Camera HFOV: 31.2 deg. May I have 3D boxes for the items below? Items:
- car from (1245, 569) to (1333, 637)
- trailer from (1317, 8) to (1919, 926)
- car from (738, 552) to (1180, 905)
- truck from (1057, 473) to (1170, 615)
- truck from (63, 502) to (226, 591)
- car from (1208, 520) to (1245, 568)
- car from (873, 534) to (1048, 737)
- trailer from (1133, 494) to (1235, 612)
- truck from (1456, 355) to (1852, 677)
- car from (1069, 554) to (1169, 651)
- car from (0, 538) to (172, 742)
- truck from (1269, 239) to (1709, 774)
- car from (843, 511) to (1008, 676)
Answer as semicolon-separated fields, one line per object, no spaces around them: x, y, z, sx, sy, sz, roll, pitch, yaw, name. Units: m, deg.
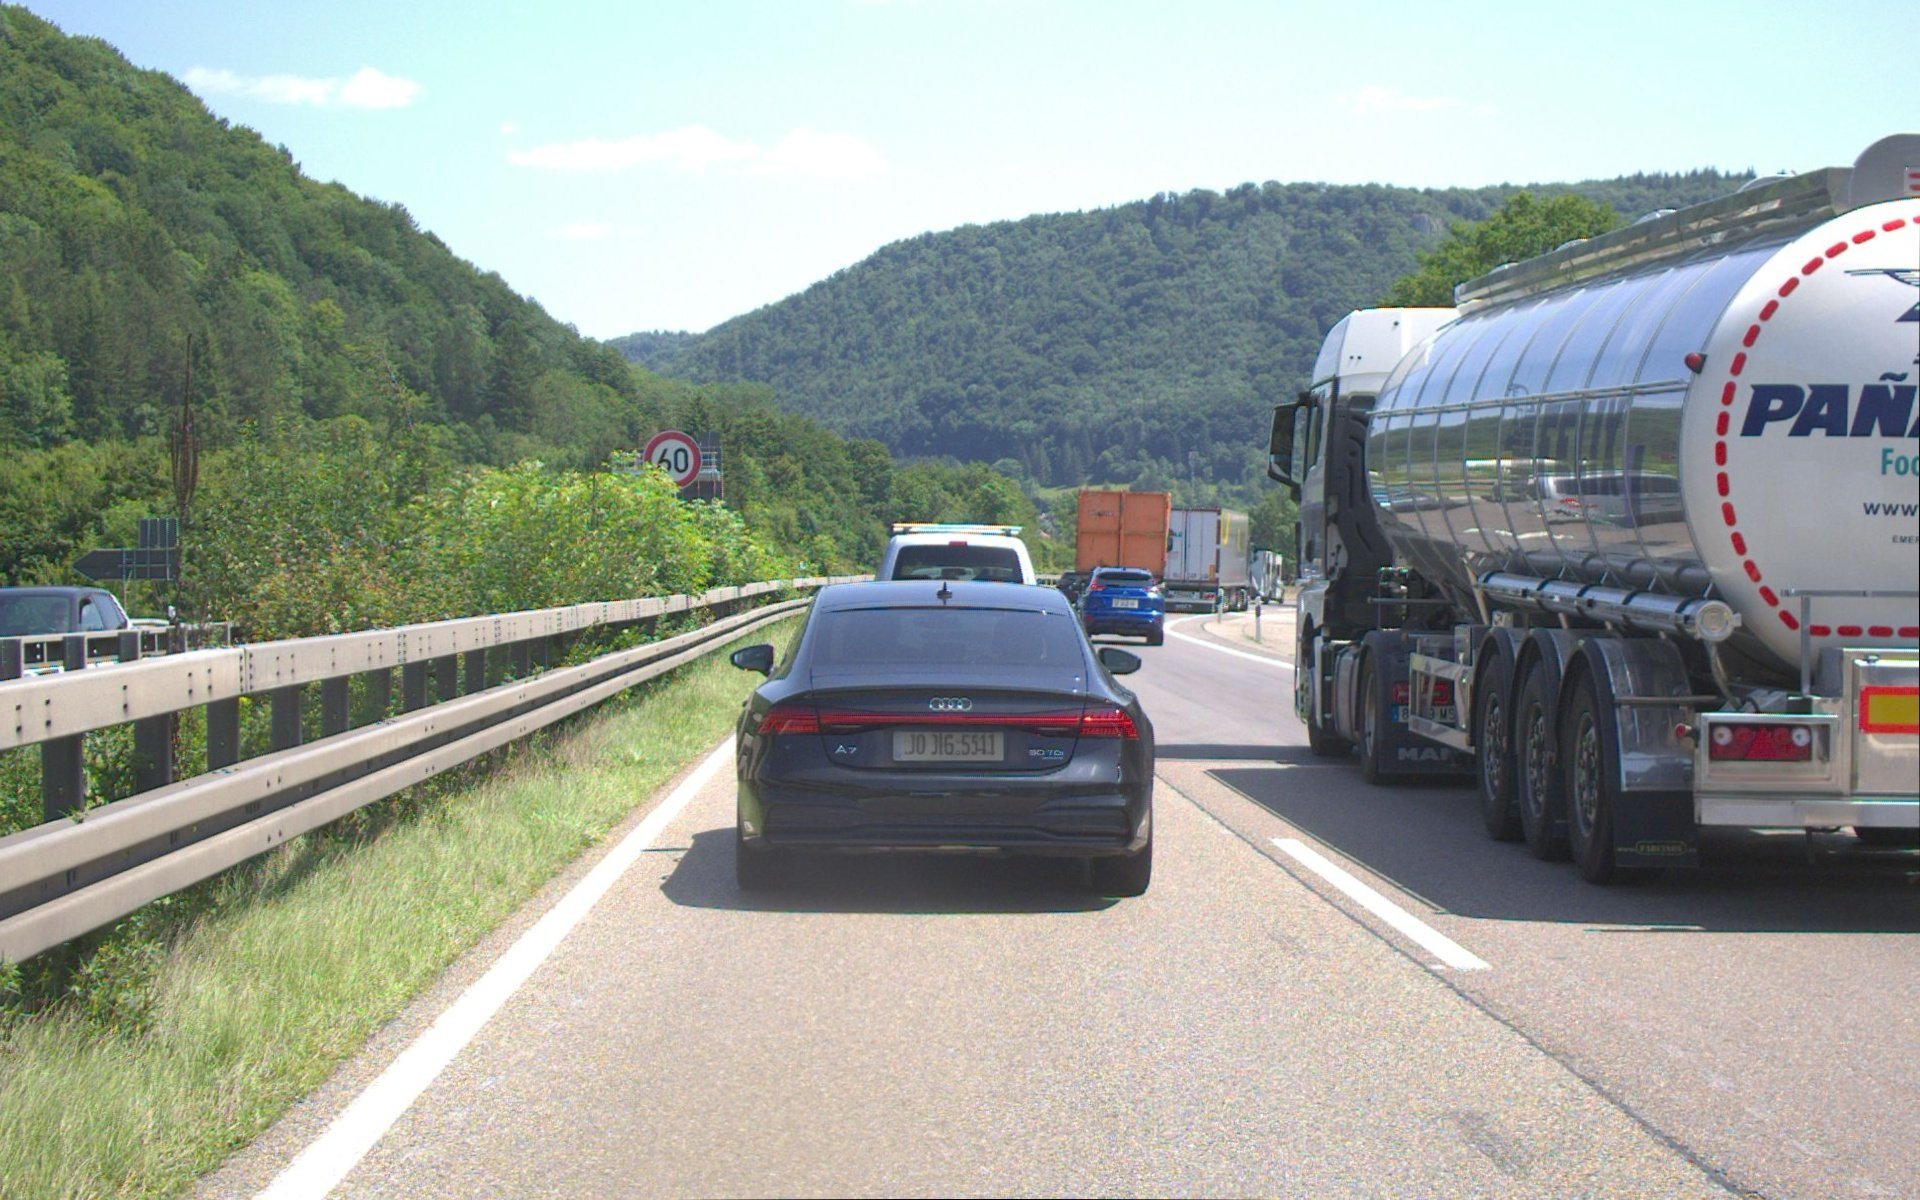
7.657;0.040;80.233;1.747;1.525;4.000;-1;1;1;car
4.075;-0.620;19.913;2.538;3.723;11.892;0;1;-1;trailer
-0.132;0.514;16.569;1.849;1.483;4.083;0;1;-4;car
4.529;-1.665;104.153;2.817;3.989;14.955;0;1;0;truck
-25.937;-1.675;109.759;3.580;2.686;8.449;-1;1;-3;truck
16.622;-3.483;214.796;1.993;2.925;4.898;0;1;1;car
-0.019;0.293;33.053;1.576;1.827;4.000;0;1;-1;car
8.598;-1.834;133.056;3.015;4.367;10.986;0;1;-1;trailer
9.707;-1.142;50.214;2.817;3.989;14.955;0;1;0;truck
3.419;0.029;74.718;1.993;1.996;4.000;-1;1;1;car
-8.301;0.338;29.624;1.993;1.608;4.274;-3;1;0;car
3.951;-0.692;26.749;2.511;3.746;5.246;0;1;-1;truck
-0.446;-0.106;43.685;1.993;2.007;4.000;0;1;-1;car
